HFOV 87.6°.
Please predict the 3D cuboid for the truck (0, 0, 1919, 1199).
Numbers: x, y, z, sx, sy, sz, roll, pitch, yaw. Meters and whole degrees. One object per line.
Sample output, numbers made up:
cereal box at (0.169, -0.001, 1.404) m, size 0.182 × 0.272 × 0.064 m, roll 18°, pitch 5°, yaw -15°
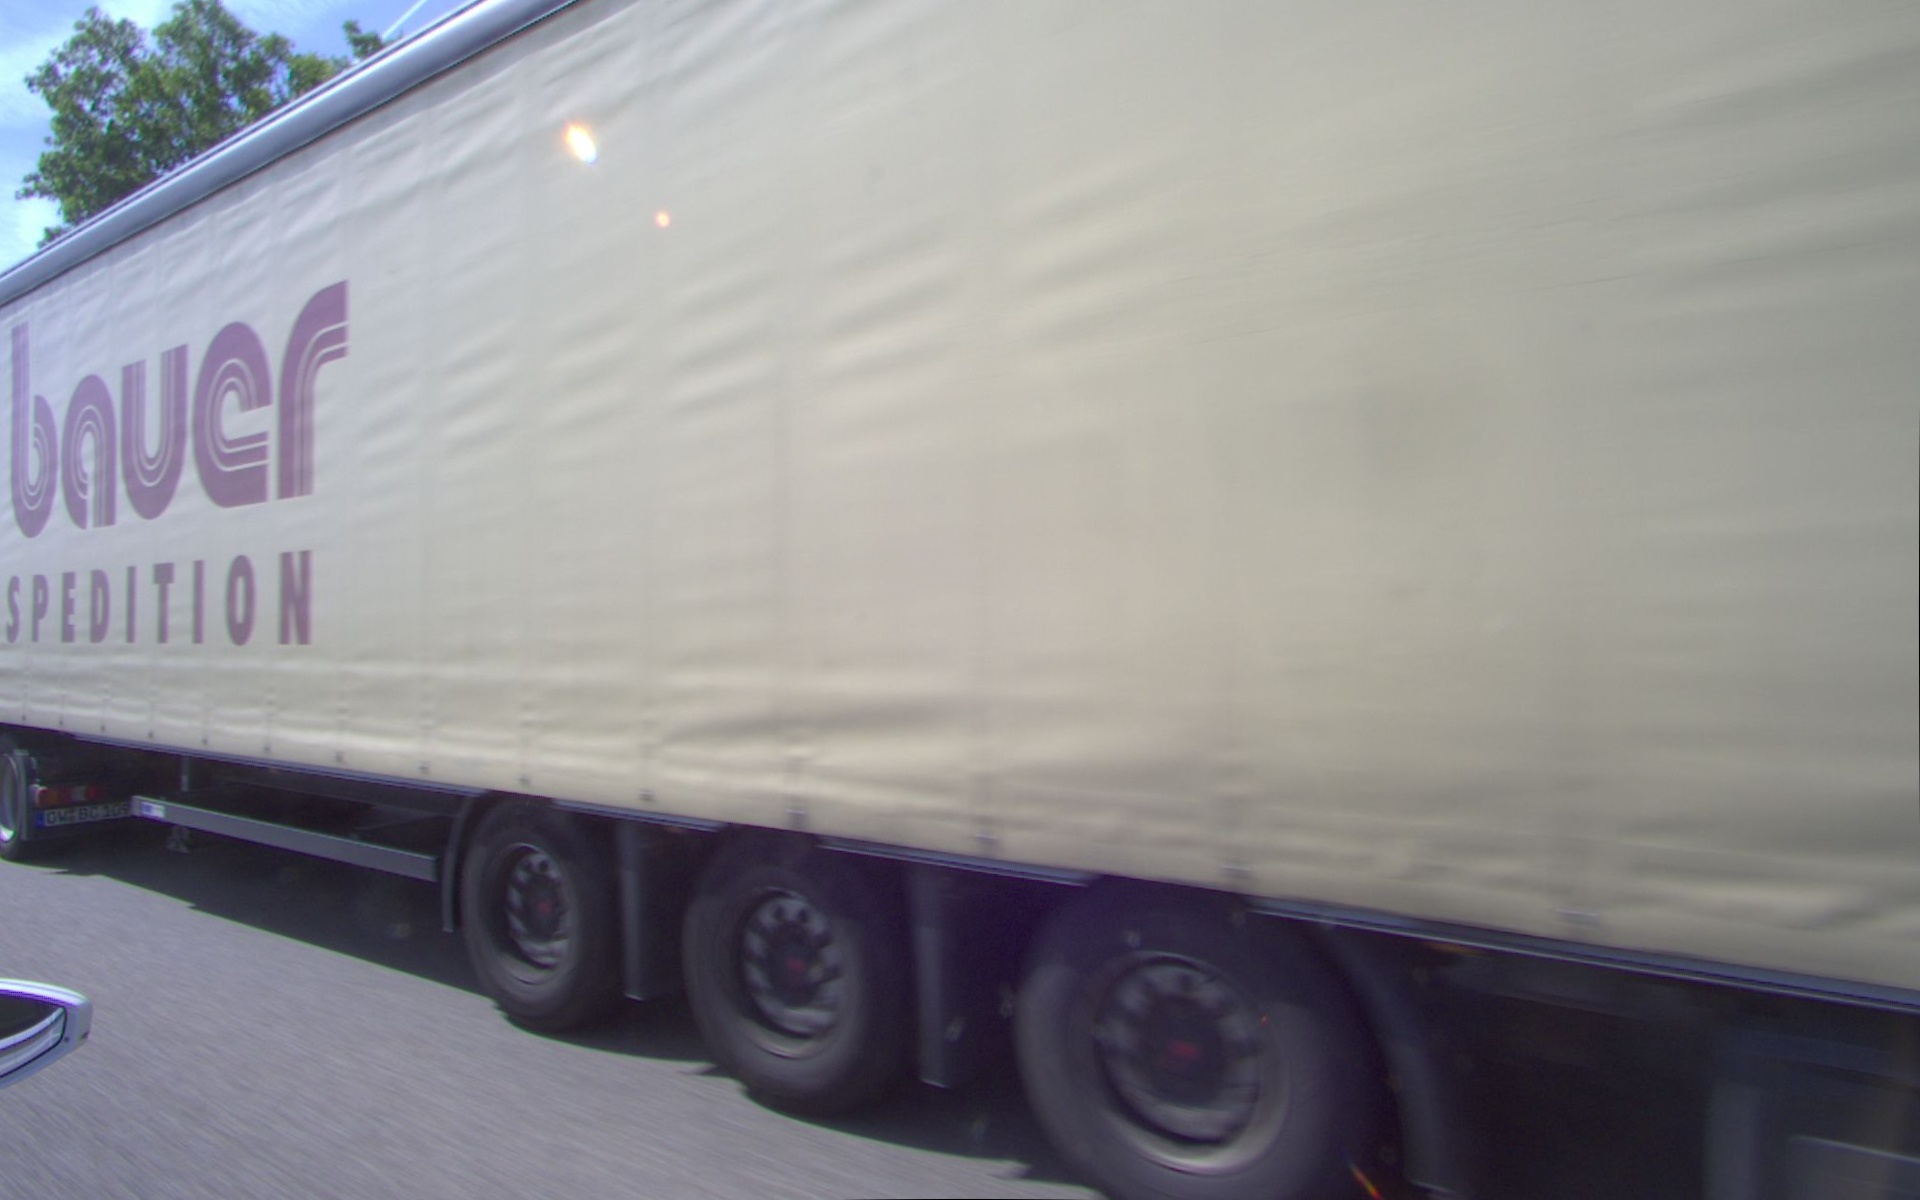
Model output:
truck at (-3.283, -0.405, 6.393) m, size 16.479 × 4.233 × 3.002 m, roll -2°, pitch -2°, yaw 33°
